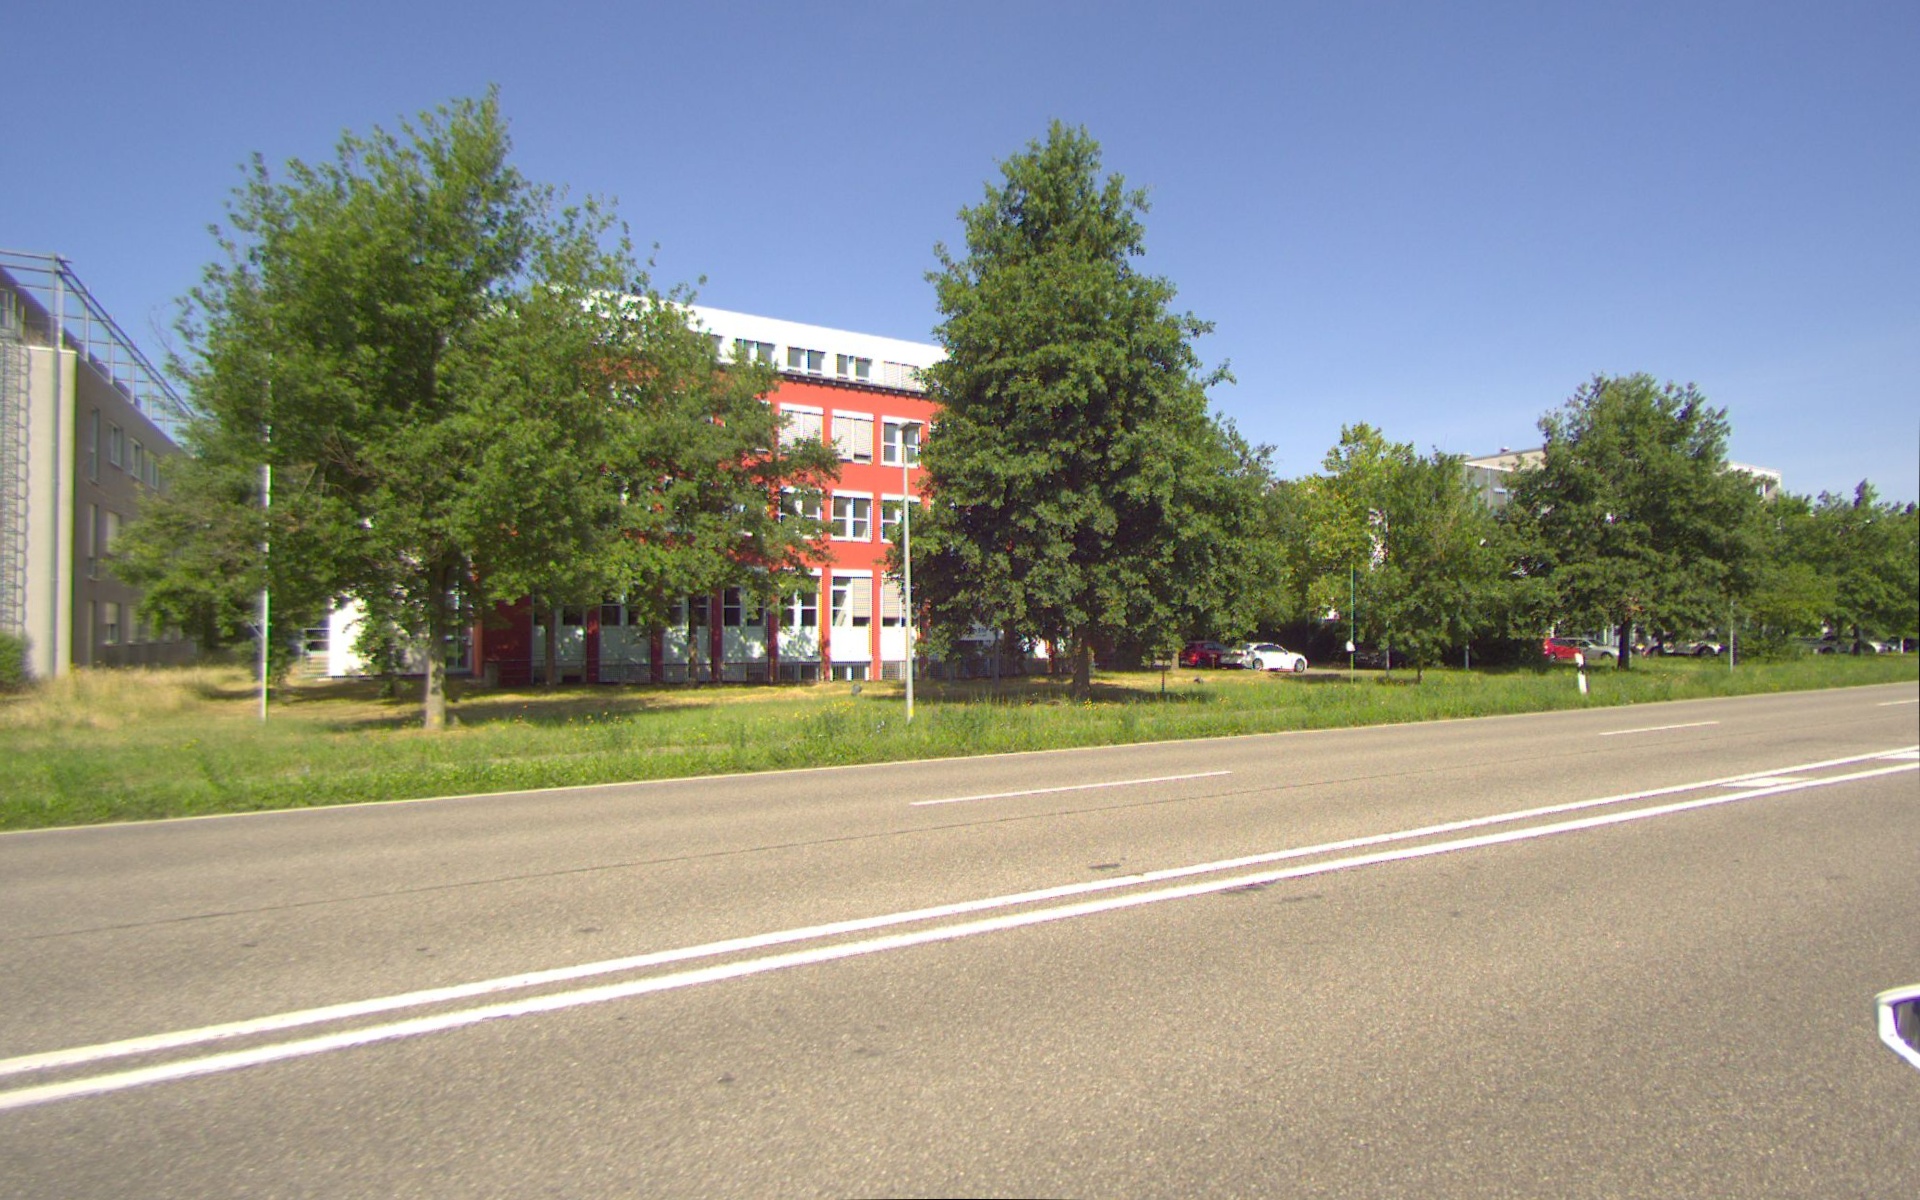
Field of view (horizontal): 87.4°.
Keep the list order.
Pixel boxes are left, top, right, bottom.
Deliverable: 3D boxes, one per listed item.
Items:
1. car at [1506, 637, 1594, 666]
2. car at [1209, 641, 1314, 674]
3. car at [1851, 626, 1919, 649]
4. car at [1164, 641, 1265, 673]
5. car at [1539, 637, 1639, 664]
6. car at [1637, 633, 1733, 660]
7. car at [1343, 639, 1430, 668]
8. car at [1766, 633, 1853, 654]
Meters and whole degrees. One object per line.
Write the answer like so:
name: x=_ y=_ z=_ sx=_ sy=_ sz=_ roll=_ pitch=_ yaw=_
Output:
car: x=31.832 y=2.733 z=54.164 sx=4.552 sy=1.456 sz=1.986 roll=1 pitch=-2 yaw=-28
car: x=14.531 y=2.741 z=48.380 sx=4.893 sy=1.456 sz=1.986 roll=1 pitch=-2 yaw=-29
car: x=75.234 y=3.014 z=81.097 sx=1.974 sy=1.781 sz=4.518 roll=1 pitch=-3 yaw=-27
car: x=12.767 y=2.825 z=50.350 sx=4.893 sy=1.456 sz=1.986 roll=1 pitch=-2 yaw=-29
car: x=36.342 y=2.890 z=58.154 sx=1.976 sy=1.456 sz=4.574 roll=1 pitch=-2 yaw=-30
car: x=46.425 y=2.970 z=64.414 sx=1.976 sy=1.672 sz=4.574 roll=1 pitch=-2 yaw=-30
car: x=22.828 y=2.848 z=53.713 sx=4.556 sy=1.456 sz=1.984 roll=1 pitch=-2 yaw=-30
car: x=63.636 y=3.241 z=75.317 sx=1.976 sy=1.456 sz=4.574 roll=1 pitch=-2 yaw=-30
